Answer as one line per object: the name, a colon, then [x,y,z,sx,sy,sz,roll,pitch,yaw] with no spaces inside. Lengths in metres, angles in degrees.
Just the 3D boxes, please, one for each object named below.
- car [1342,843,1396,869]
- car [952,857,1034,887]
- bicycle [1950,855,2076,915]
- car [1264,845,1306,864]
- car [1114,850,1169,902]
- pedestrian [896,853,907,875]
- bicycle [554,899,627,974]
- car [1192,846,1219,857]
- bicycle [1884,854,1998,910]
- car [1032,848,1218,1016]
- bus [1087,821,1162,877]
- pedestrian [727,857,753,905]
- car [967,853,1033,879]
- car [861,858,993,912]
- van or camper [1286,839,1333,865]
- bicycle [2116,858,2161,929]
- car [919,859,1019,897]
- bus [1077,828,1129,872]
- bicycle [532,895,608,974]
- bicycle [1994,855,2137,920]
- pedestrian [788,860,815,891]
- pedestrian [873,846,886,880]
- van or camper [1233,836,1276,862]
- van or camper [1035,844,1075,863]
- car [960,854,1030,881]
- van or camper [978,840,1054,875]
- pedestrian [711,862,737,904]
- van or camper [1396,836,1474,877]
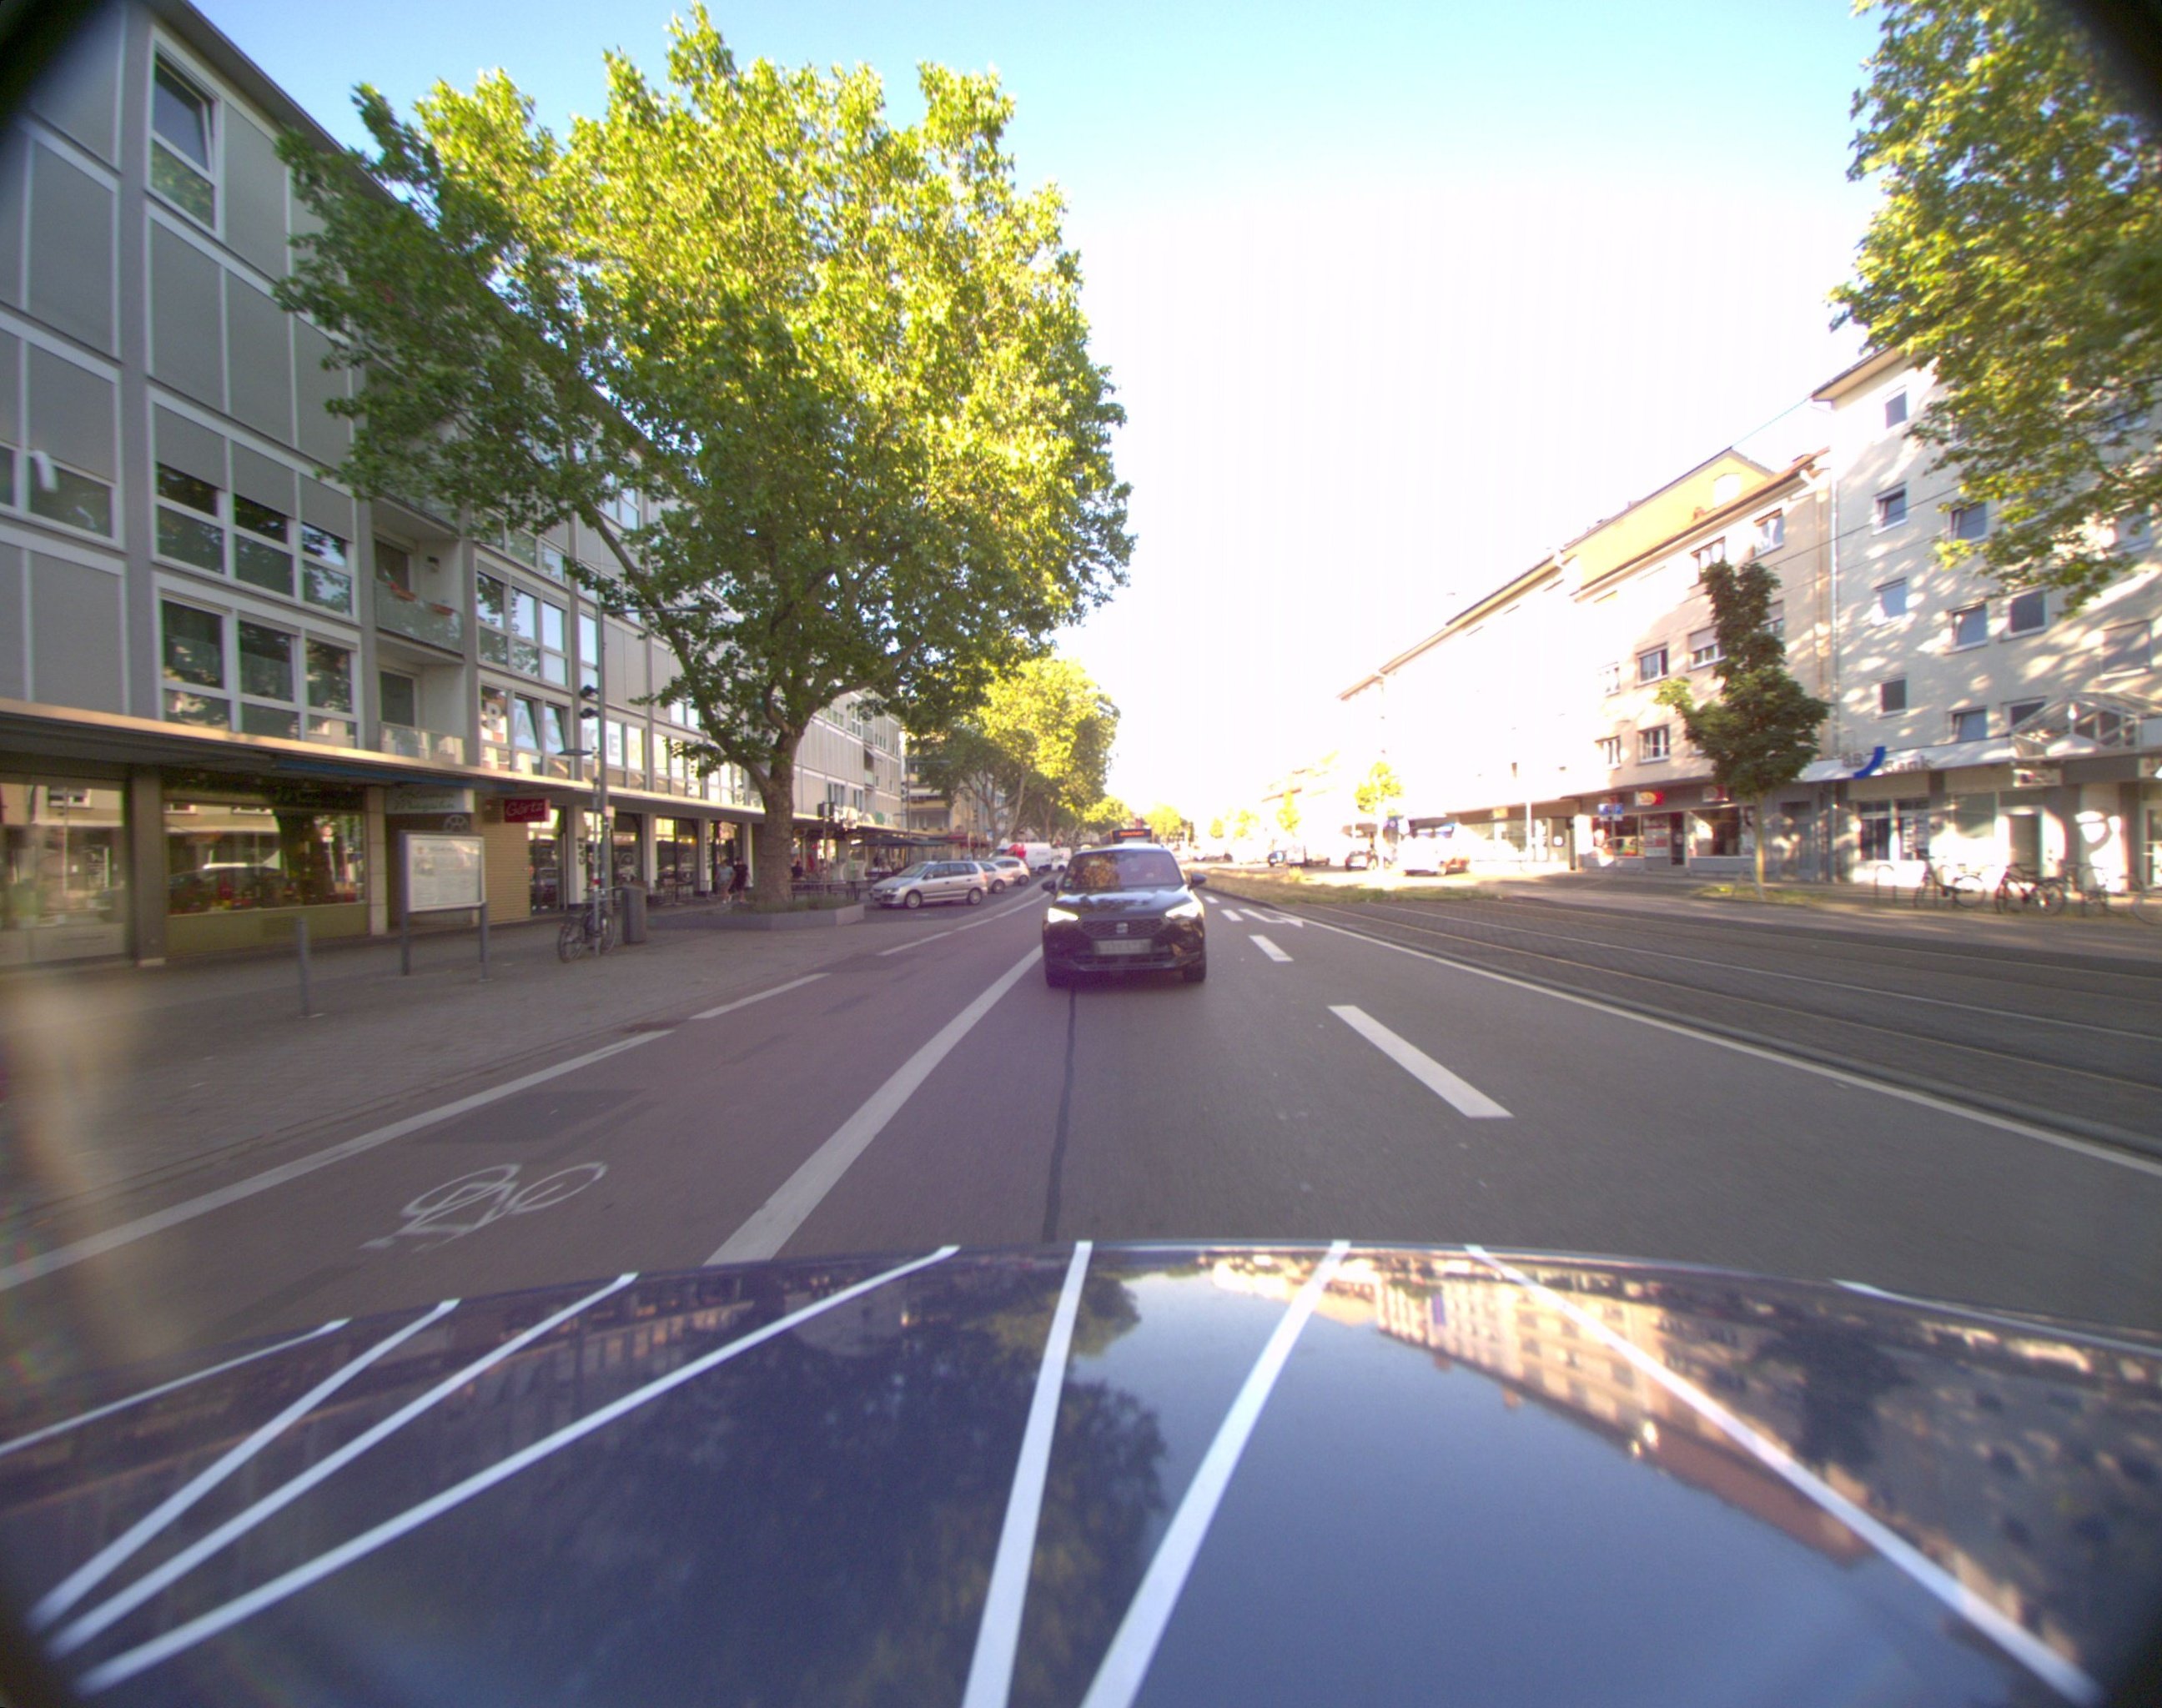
car: [19.658,0.138,51.854,1.765,1.482,4.459,-3,1,44]
car: [-4.606,0.901,40.087,4.008,1.428,1.655,-1,2,-39]
bicycle: [18.685,0.610,15.247,1.899,1.118,0.534,-2,1,-2]
car: [19.462,0.004,72.376,4.007,1.577,1.874,-4,1,-43]
car: [2.011,0.665,25.508,1.658,1.571,4.001,-1,0,4]
pedestrian: [-13.144,0.755,55.666,0.685,1.582,0.540,2,1,45]
bicycle: [-7.949,1.305,12.371,0.295,1.034,1.717,2,0,-9]
car: [19.858,-0.373,121.069,3.919,1.482,1.766,-4,0,-22]
bicycle: [18.665,0.600,16.501,1.899,1.118,0.534,-2,1,-2]
car: [0.629,0.796,9.778,1.807,1.637,4.001,-3,0,5]
bus: [2.500,-0.398,48.734,2.873,2.962,12.232,-4,1,-5]
pedestrian: [-11.531,0.913,25.702,0.538,1.582,0.687,1,1,0]
car: [-5.293,0.742,49.884,4.008,1.555,1.655,-1,2,-39]
car: [-5.112,0.983,25.575,1.804,1.597,4.008,-1,0,43]
van or camper: [19.728,-0.207,65.467,4.459,1.978,1.795,-4,1,-44]
bicycle: [18.718,0.631,12.729,1.899,1.118,0.652,-2,1,-2]
car: [-4.783,0.982,32.752,4.008,1.428,1.655,-1,2,-43]
bus: [1.534,-0.398,60.945,2.873,2.962,12.233,-4,1,-4]
bicycle: [-8.224,1.262,12.291,0.295,1.095,1.717,2,0,-9]
bicycle: [18.692,0.620,14.445,1.899,1.118,0.652,-2,1,-2]
pedestrian: [-12.644,0.954,34.376,0.750,1.354,0.962,-1,1,5]
pedestrian: [-11.922,0.530,44.962,0.552,2.002,0.577,-4,1,-14]
van or camper: [19.750,-0.635,86.312,1.995,2.652,6.410,-3,1,39]
van or camper: [-3.556,-0.043,104.508,5.473,2.455,1.994,-2,1,-42]
car: [-5.250,0.812,46.674,4.008,1.514,1.655,-1,2,-39]
van or camper: [-4.828,0.207,57.169,5.473,2.455,1.995,-2,1,-39]
pedestrian: [-12.106,0.982,25.780,0.538,1.392,0.687,1,1,0]
van or camper: [18.935,0.097,40.540,4.823,1.886,1.946,-4,1,-42]
